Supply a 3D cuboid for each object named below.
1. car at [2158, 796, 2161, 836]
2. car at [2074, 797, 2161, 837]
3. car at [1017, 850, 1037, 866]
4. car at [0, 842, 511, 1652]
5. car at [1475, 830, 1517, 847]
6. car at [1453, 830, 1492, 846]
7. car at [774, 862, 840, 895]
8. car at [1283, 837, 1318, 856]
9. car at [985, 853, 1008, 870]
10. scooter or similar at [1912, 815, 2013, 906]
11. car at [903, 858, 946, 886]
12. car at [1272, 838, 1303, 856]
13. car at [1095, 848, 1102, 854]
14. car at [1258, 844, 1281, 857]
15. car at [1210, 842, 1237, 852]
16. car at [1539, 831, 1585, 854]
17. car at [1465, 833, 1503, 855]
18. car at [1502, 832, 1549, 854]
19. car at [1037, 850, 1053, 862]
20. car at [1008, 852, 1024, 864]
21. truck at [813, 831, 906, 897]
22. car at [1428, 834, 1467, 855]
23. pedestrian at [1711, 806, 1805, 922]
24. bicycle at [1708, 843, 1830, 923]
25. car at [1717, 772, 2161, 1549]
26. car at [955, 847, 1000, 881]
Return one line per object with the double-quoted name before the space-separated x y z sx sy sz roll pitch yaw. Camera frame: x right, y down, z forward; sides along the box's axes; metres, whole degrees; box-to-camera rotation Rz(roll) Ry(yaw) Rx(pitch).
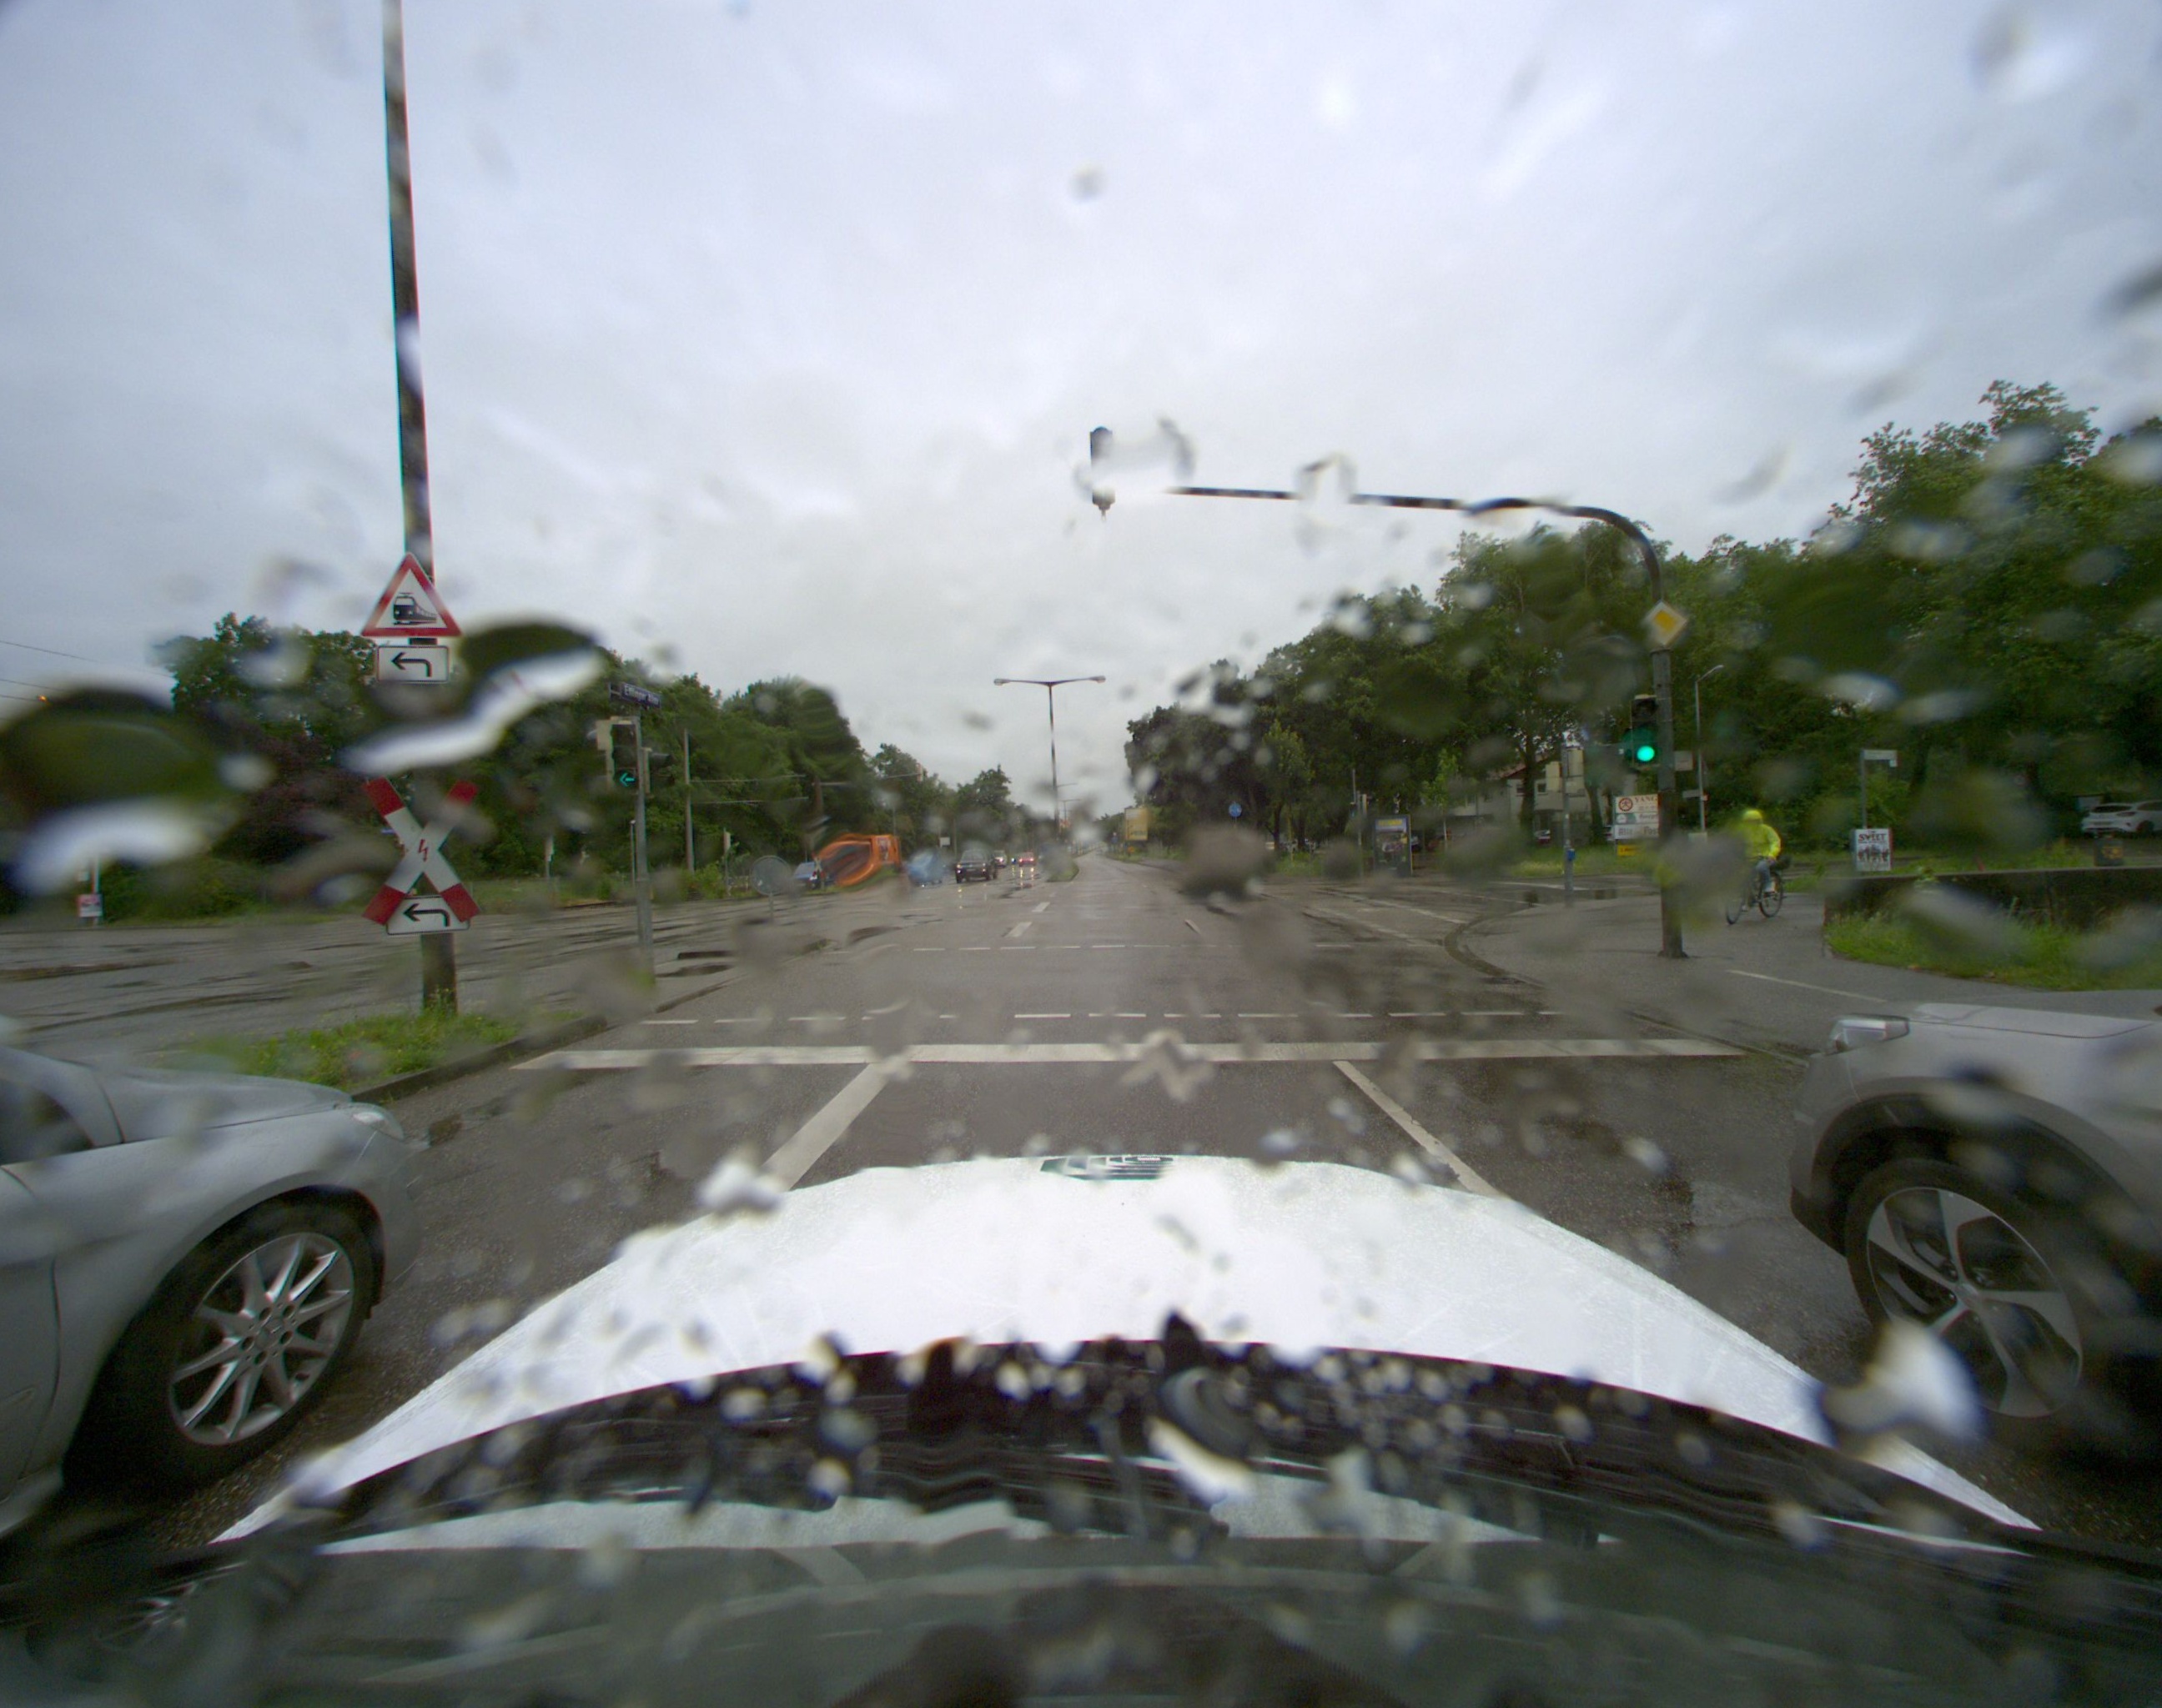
"car" 45.430 -1.553 31.899 4.582 1.583 1.921 0 0 -8
"car" 45.203 -1.560 34.446 4.582 1.583 1.921 0 0 -8
"car" -5.914 0.441 90.198 1.795 1.569 4.428 -4 -1 0
"car" -2.975 0.781 0.882 1.729 1.544 4.015 -2 0 2
"car" 36.315 -1.315 71.326 1.579 1.385 3.998 -1 0 -1
"car" 34.022 -1.356 70.888 1.568 1.316 3.699 -1 0 -2
"car" -15.392 1.334 45.996 1.986 1.709 4.529 -1 0 2
"car" 21.894 -0.733 81.419 1.988 1.717 4.876 -3 0 -1
"car" -9.124 0.778 88.100 1.887 1.611 4.502 -2 0 2
"scooter or similar" 12.379 0.092 11.449 0.952 1.229 0.322 -2 0 6
"car" -8.945 1.017 46.813 1.636 1.427 3.998 -4 0 -1
"car" 22.023 -0.720 86.874 1.988 1.717 4.639 -3 0 -1
"car" 4.856 -0.809 222.268 1.900 1.515 4.002 -2 0 2
"car" 21.909 -0.376 94.781 1.632 1.486 4.071 -1 0 -1
"car" 26.522 -1.301 151.462 4.562 1.645 1.997 -1 0 -5
"car" 32.354 -0.751 54.784 3.772 1.449 1.584 0 -1 -42
"car" 28.988 -0.701 58.528 1.648 1.449 3.776 -1 0 40
"car" 30.721 -0.729 56.207 3.772 1.449 1.650 0 -1 -42
"car" -5.396 0.289 122.608 1.954 1.617 4.698 -3 0 1
"car" -9.465 0.588 118.785 1.700 1.641 4.332 -4 0 2
"truck" -15.057 0.647 56.431 3.373 4.167 10.408 -1 0 1
"car" 27.052 -0.676 60.043 1.648 1.449 3.776 -1 0 40
"pedestrian" 10.382 0.158 12.509 0.670 1.678 0.782 -6 0 -26
"bicycle" 10.676 0.435 12.641 1.668 1.038 0.782 -6 0 -26
"car" 3.131 0.613 0.775 1.877 1.610 4.198 -1 -1 2
"car" -6.017 0.558 47.699 1.799 1.773 5.090 -4 0 1
